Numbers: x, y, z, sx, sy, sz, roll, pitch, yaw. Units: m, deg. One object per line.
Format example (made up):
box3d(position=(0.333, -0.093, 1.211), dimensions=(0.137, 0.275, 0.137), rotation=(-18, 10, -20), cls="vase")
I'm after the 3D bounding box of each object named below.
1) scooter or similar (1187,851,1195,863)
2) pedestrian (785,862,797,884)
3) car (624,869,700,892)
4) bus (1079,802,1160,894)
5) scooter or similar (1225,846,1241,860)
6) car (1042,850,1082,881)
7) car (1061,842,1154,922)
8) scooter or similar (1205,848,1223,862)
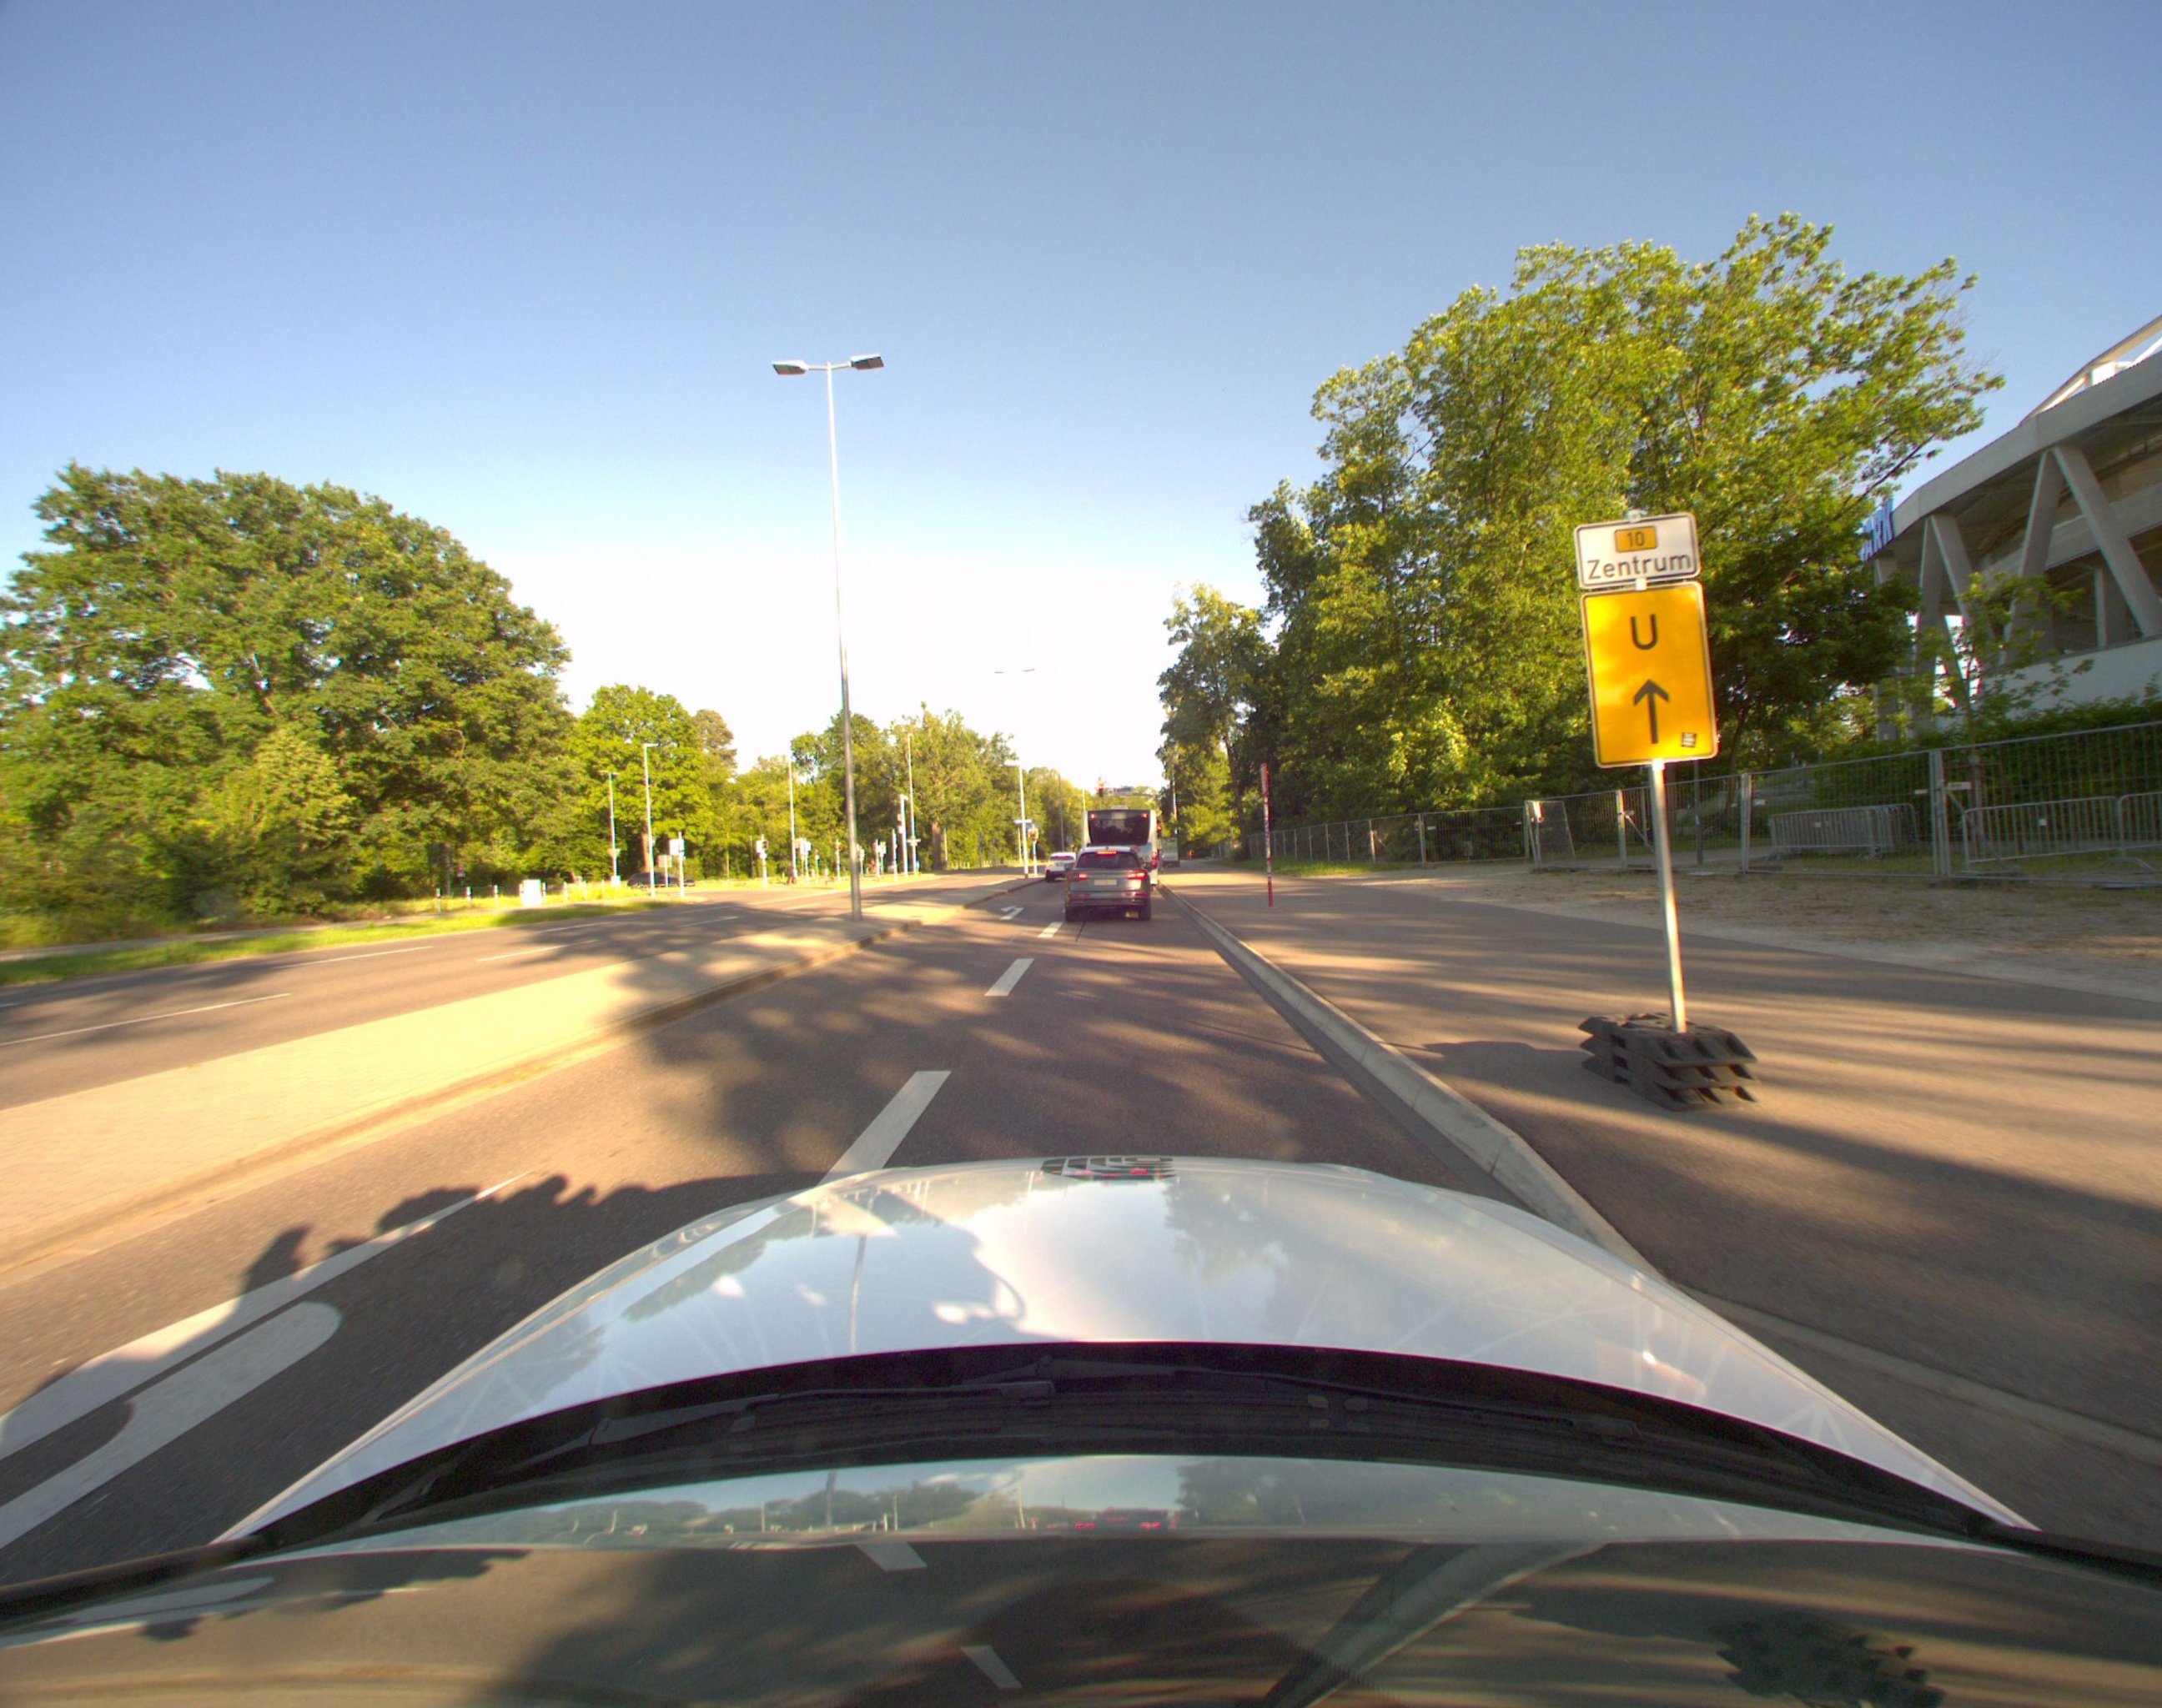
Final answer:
box3d(position=(13.066, 0.348, 96.723), dimensions=(0.506, 1.444, 2.020), rotation=(-3, 0, -2), cls="scooter or similar")
box3d(position=(-21.237, 1.394, 59.598), dimensions=(0.652, 1.560, 0.533), rotation=(-3, 0, -40), cls="pedestrian")
box3d(position=(-32.670, 2.068, 63.550), dimensions=(4.757, 1.498, 2.000), rotation=(-3, 0, 0), cls="car")
box3d(position=(1.500, -0.165, 31.480), dimensions=(2.584, 2.989, 9.333), rotation=(-1, 0, 3), cls="bus")
box3d(position=(17.785, -0.147, 95.316), dimensions=(0.543, 1.567, 2.000), rotation=(-3, 0, -36), cls="scooter or similar")
box3d(position=(-0.963, 0.580, 44.046), dimensions=(1.829, 1.518, 4.003), rotation=(-2, 0, 3), cls="car")
box3d(position=(0.651, 0.586, 18.945), dimensions=(1.891, 1.632, 4.003), rotation=(-1, 0, 3), cls="car")
box3d(position=(15.350, 0.095, 94.127), dimensions=(2.024, 1.444, 0.601), rotation=(-3, 0, -22), cls="scooter or similar")
